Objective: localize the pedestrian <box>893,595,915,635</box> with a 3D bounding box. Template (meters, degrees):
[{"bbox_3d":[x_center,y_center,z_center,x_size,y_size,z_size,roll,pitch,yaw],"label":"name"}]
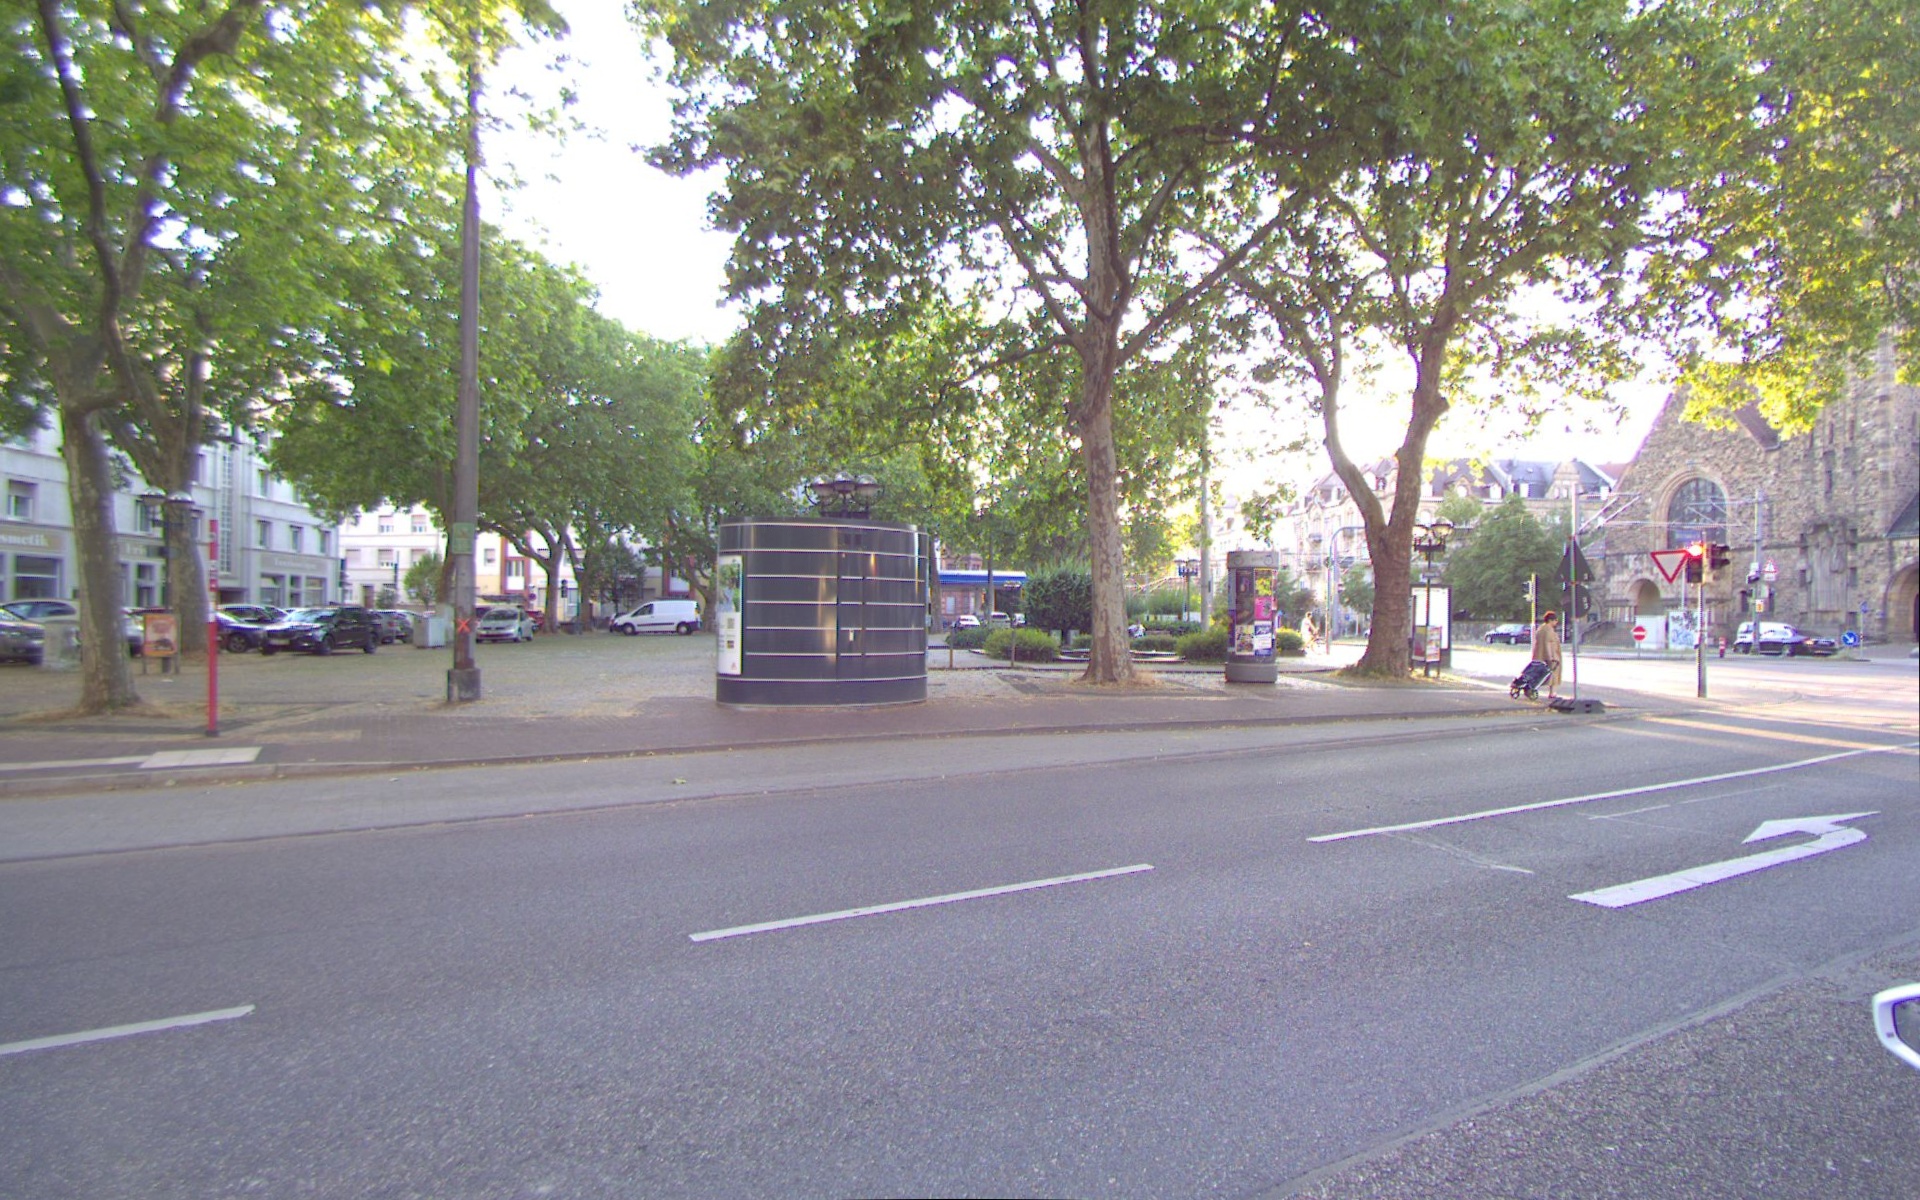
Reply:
[{"bbox_3d":[-2.413,0.636,43.233,0.869,1.694,0.740,2,0,-8],"label":"pedestrian"}]

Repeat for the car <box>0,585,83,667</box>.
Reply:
[{"bbox_3d":[-23.121,0.636,22.725,4.557,1.805,1.997,-1,-1,-10],"label":"car"}]

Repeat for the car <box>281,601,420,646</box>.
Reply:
[{"bbox_3d":[-25.549,0.987,42.261,4.557,1.758,1.997,-1,-1,-10],"label":"car"}]

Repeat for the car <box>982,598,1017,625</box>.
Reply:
[{"bbox_3d":[2.874,0.835,73.311,1.882,1.873,3.995,2,0,-7],"label":"car"}]

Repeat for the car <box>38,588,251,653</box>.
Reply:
[{"bbox_3d":[-24.448,0.613,30.294,4.557,1.805,1.997,-1,-1,-10],"label":"car"}]

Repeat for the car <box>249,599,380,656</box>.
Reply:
[{"bbox_3d":[-19.216,0.817,30.104,1.642,1.549,3.760,2,-1,-4],"label":"car"}]

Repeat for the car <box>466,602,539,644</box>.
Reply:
[{"bbox_3d":[-19.781,0.968,43.585,1.642,1.684,3.760,2,0,-4],"label":"car"}]

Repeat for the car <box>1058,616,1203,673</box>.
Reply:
[{"bbox_3d":[5.819,1.513,34.659,4.552,1.805,1.999,-1,-1,-5],"label":"car"}]

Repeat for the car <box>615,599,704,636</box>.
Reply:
[{"bbox_3d":[-16.842,1.002,56.444,4.557,1.964,1.997,-1,-1,-10],"label":"car"}]

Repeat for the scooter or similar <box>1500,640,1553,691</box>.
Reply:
[{"bbox_3d":[10.578,1.210,18.754,0.845,0.910,0.586,2,0,-40],"label":"scooter or similar"}]

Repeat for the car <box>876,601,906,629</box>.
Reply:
[{"bbox_3d":[-4.993,1.060,72.312,1.882,1.873,3.995,2,0,-7],"label":"car"}]

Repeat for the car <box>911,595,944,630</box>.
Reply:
[{"bbox_3d":[-2.358,0.886,72.556,1.963,2.374,3.995,2,0,-7],"label":"car"}]

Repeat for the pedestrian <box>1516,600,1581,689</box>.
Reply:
[{"bbox_3d":[11.290,0.832,19.275,0.766,1.649,0.796,2,0,-35],"label":"pedestrian"}]

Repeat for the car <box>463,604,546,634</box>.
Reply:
[{"bbox_3d":[-28.200,1.199,62.331,4.572,1.758,1.990,-1,-2,-22],"label":"car"}]

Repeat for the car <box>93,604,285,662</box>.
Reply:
[{"bbox_3d":[-25.106,1.063,32.875,4.557,1.758,1.997,-1,-1,-10],"label":"car"}]

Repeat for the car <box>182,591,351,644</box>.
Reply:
[{"bbox_3d":[-25.099,0.639,36.518,4.557,1.805,2.090,-1,-1,-10],"label":"car"}]

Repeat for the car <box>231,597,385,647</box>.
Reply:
[{"bbox_3d":[-25.287,0.868,39.105,4.557,1.805,1.997,-1,-1,-10],"label":"car"}]

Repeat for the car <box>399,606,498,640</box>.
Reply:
[{"bbox_3d":[-27.704,1.262,54.570,4.572,1.758,1.990,-1,-2,-22],"label":"car"}]

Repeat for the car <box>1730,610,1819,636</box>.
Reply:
[{"bbox_3d":[50.999,1.431,62.893,4.372,1.537,1.718,2,0,-6],"label":"car"}]

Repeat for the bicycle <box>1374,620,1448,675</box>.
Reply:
[{"bbox_3d":[11.332,1.188,25.227,1.967,1.344,0.523,2,0,-26],"label":"bicycle"}]

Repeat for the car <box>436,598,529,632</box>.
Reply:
[{"bbox_3d":[-27.209,0.883,57.415,4.578,1.834,1.992,-1,-2,-20],"label":"car"}]

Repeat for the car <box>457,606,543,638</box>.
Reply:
[{"bbox_3d":[-27.367,1.318,59.936,4.572,1.758,1.990,-1,-2,-22],"label":"car"}]

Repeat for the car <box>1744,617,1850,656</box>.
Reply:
[{"bbox_3d":[41.216,1.780,49.591,1.960,1.639,4.002,5,0,5],"label":"car"}]

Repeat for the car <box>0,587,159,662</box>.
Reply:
[{"bbox_3d":[-23.678,0.643,25.696,4.557,1.805,1.997,-1,-1,-10],"label":"car"}]

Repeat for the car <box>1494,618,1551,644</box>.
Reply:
[{"bbox_3d":[39.172,2.135,70.043,1.960,1.706,4.002,2,0,4],"label":"car"}]
